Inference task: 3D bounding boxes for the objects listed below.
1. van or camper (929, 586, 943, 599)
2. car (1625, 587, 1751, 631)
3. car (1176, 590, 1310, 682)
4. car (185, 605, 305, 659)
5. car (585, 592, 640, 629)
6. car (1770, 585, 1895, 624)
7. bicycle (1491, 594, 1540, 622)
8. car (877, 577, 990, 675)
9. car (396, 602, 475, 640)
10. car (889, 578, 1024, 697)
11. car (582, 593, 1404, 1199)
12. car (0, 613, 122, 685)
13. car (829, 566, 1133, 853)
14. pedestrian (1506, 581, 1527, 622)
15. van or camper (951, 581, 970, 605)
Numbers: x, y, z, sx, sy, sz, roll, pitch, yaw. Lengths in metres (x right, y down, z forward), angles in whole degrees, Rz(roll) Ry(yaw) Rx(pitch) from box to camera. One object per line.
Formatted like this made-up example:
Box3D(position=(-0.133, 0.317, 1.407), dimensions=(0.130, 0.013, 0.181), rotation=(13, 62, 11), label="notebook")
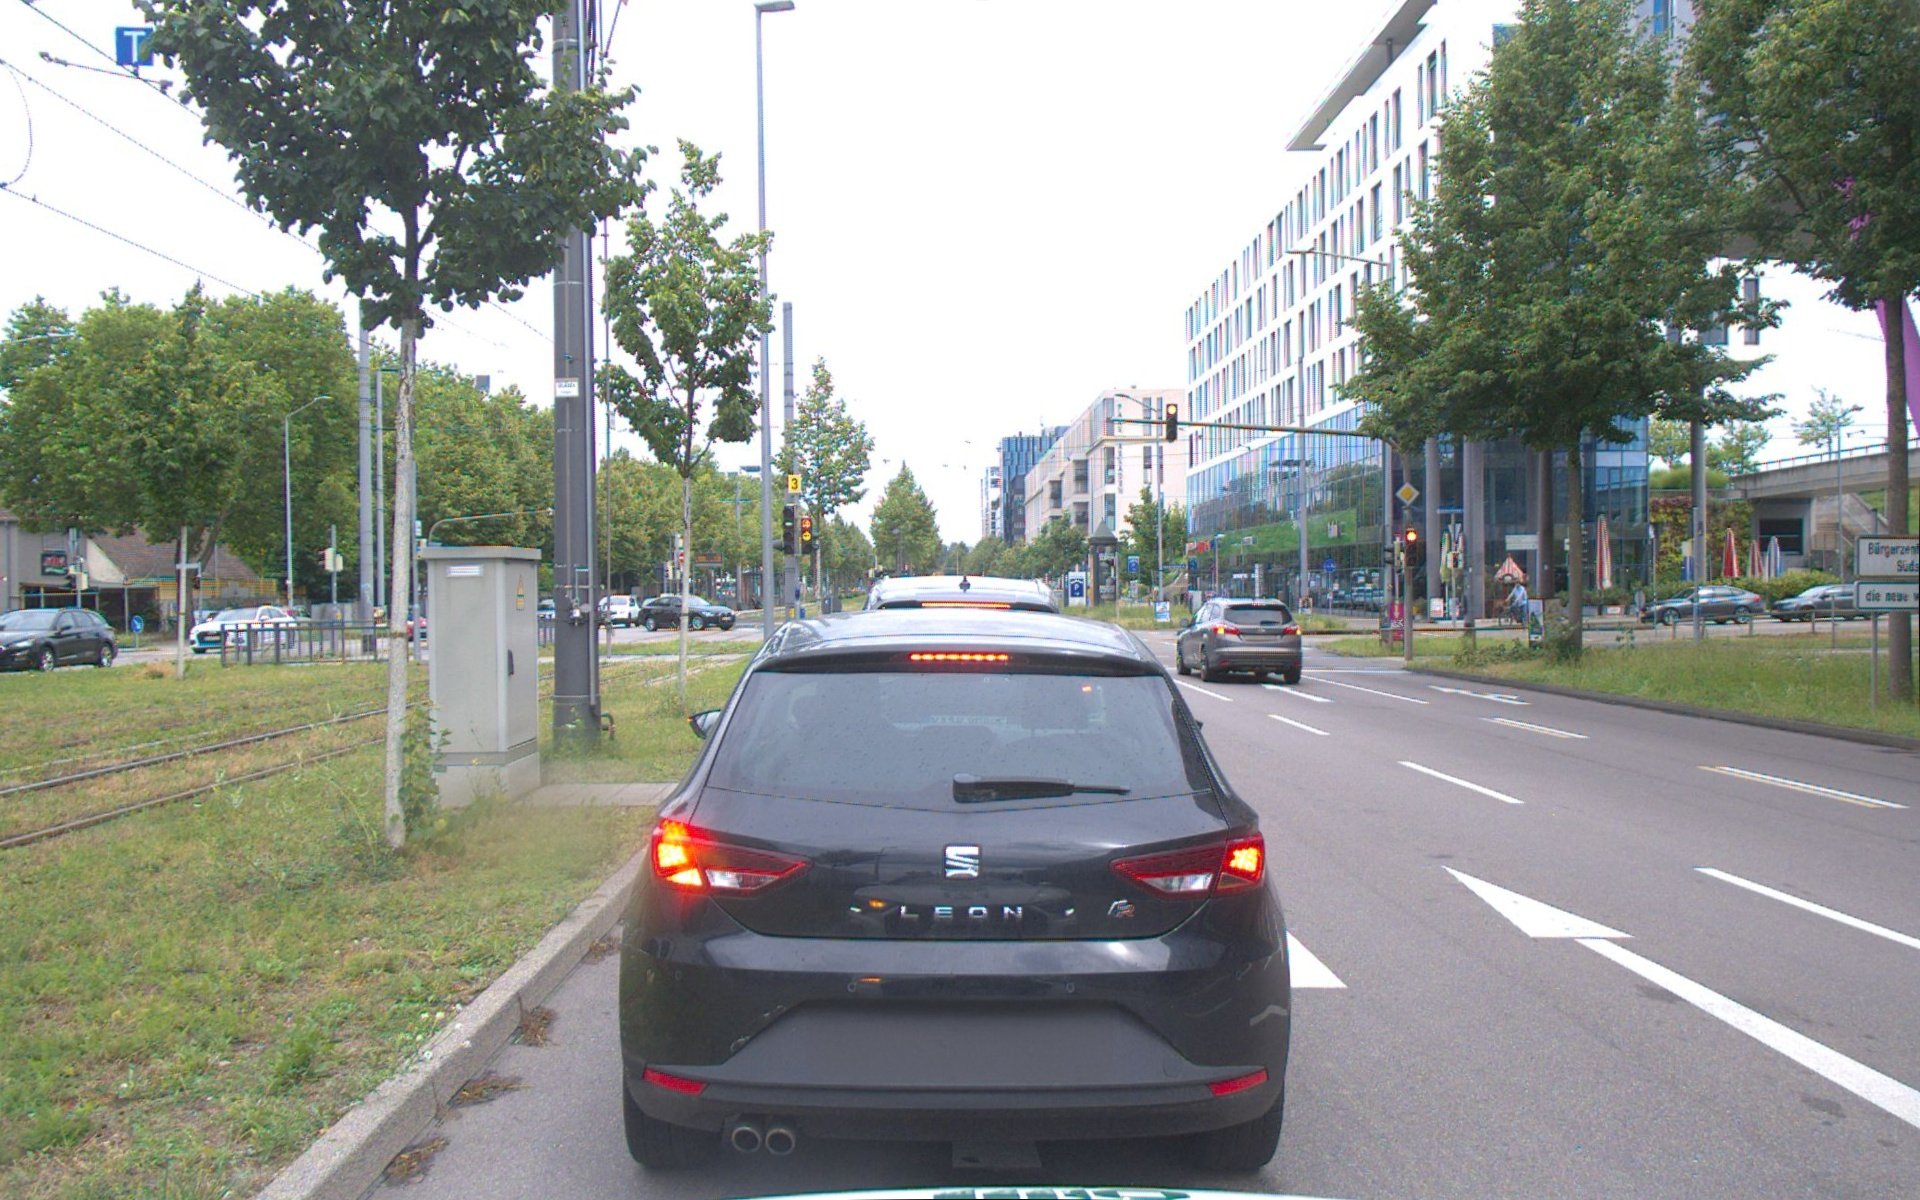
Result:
Box3D(position=(-3.271, -1.020, 225.141), dimensions=(1.953, 1.643, 4.789), rotation=(0, 2, 0), label="van or camper")
Box3D(position=(28.511, 0.326, 64.878), dimensions=(4.163, 1.643, 1.758), rotation=(-1, 0, 1), label="car")
Box3D(position=(5.187, 0.608, 30.805), dimensions=(1.712, 1.525, 4.268), rotation=(0, 1, -1), label="car")
Box3D(position=(-23.438, 0.997, 54.417), dimensions=(1.774, 1.616, 5.077), rotation=(-1, 0, -1), label="car")
Box3D(position=(-17.391, 0.523, 82.961), dimensions=(1.953, 1.780, 4.199), rotation=(-1, 0, -2), label="car")
Box3D(position=(34.418, 0.169, 65.288), dimensions=(3.996, 1.480, 1.758), rotation=(-1, 0, 1), label="car")
Box3D(position=(22.359, 0.310, 66.620), dimensions=(1.755, 1.104, 0.618), rotation=(-1, 0, 1), label="bicycle")
Box3D(position=(-0.436, 0.433, 31.125), dimensions=(1.952, 1.711, 4.001), rotation=(1, 1, 1), label="car")
Box3D(position=(-20.398, 0.789, 64.489), dimensions=(1.775, 1.401, 4.268), rotation=(-1, 0, -2), label="car")
Box3D(position=(0.023, 0.522, 26.071), dimensions=(1.952, 1.711, 4.001), rotation=(1, 1, 2), label="car")
Box3D(position=(0.021, 0.716, 5.460), dimensions=(1.708, 1.442, 3.999), rotation=(1, 0, -2), label="car")
Box3D(position=(-20.177, 1.036, 36.134), dimensions=(1.765, 1.401, 4.056), rotation=(-1, 0, -2), label="car")
Box3D(position=(0.096, 0.625, 11.687), dimensions=(1.766, 1.653, 3.999), rotation=(-1, 0, -1), label="car")
Box3D(position=(22.418, 0.041, 66.618), dimensions=(0.602, 1.632, 0.619), rotation=(-1, 0, 1), label="pedestrian")
Box3D(position=(0.022, -0.790, 182.719), dimensions=(2.066, 2.397, 4.923), rotation=(0, 2, 0), label="van or camper")
